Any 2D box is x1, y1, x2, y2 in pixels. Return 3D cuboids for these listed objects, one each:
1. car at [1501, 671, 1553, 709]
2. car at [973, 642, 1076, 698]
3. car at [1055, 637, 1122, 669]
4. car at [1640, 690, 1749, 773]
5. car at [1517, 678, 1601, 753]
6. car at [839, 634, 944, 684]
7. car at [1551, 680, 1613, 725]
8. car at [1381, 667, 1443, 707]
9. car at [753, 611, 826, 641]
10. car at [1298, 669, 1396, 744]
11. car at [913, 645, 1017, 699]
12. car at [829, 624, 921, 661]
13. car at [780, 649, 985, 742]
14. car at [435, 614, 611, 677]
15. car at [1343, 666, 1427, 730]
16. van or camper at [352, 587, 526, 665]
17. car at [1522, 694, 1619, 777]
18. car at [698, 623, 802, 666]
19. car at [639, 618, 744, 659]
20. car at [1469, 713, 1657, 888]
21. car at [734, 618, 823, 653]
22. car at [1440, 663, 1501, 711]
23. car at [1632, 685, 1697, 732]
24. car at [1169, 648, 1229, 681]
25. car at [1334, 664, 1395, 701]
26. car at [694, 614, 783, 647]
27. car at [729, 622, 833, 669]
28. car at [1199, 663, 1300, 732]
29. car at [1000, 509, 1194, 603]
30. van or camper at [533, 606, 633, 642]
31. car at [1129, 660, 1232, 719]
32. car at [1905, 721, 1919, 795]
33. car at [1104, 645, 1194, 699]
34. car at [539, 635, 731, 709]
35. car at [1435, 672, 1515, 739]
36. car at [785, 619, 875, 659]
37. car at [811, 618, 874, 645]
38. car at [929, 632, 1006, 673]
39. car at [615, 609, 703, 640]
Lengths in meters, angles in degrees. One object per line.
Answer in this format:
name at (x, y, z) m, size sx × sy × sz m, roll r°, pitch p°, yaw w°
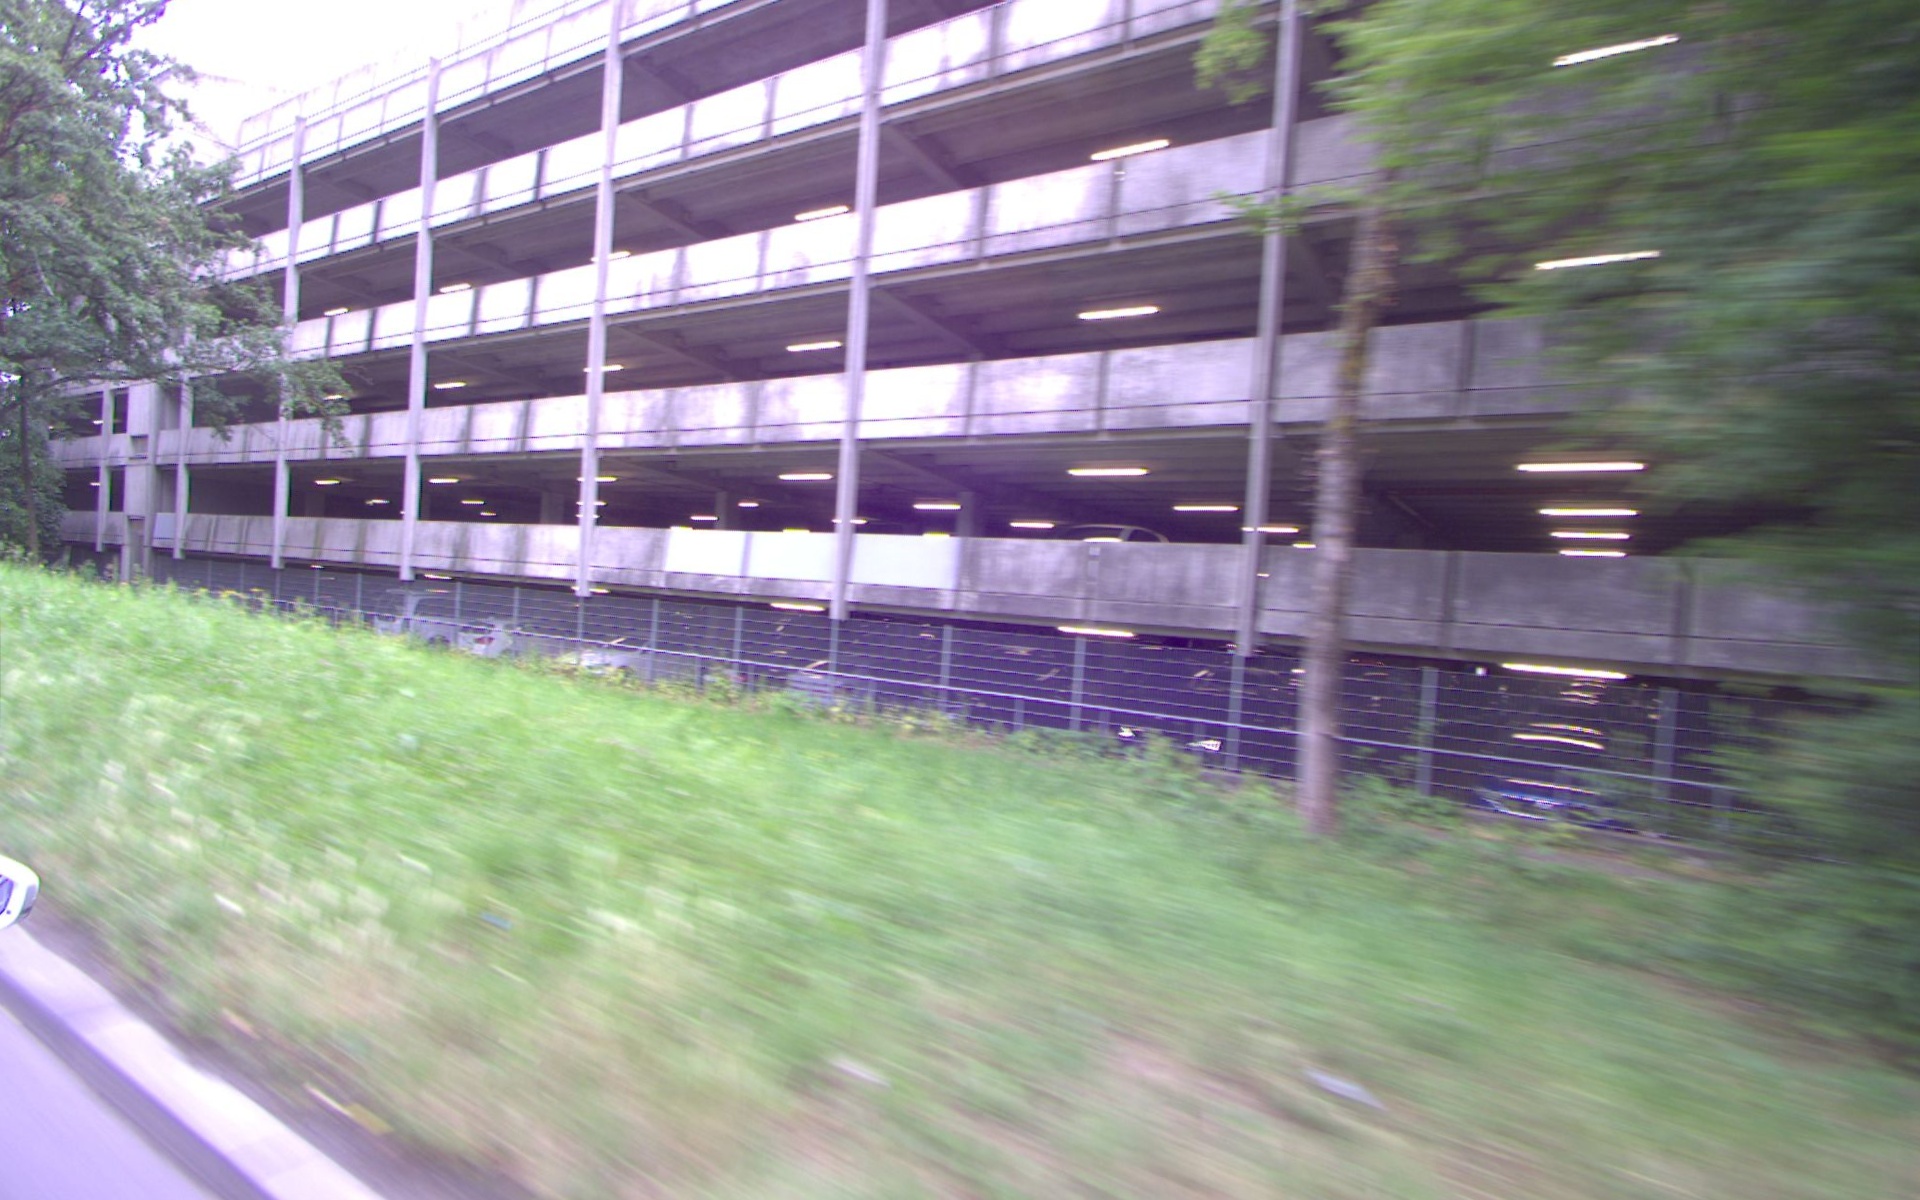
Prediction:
car at (23.766, 3.739, 42.143) m, size 1.669 × 1.285 × 3.516 m, roll 4°, pitch 0°, yaw 32°
car at (2.066, 2.126, 31.219) m, size 1.645 × 1.460 × 3.664 m, roll 4°, pitch 1°, yaw 31°
car at (6.019, 2.482, 46.873) m, size 1.670 × 1.285 × 3.514 m, roll 4°, pitch 0°, yaw 34°
car at (18.338, 3.212, 25.275) m, size 1.759 × 1.564 × 3.693 m, roll 4°, pitch 0°, yaw 30°
car at (16.191, 3.058, 27.259) m, size 1.759 × 1.564 × 3.693 m, roll 4°, pitch 0°, yaw 30°
car at (-2.262, 1.937, 34.040) m, size 1.646 × 1.460 × 3.663 m, roll 5°, pitch 1°, yaw 32°
car at (22.421, 3.636, 36.209) m, size 1.694 × 1.285 × 3.674 m, roll 4°, pitch 0°, yaw 34°
car at (17.780, 3.379, 39.496) m, size 1.669 × 1.285 × 3.516 m, roll 4°, pitch 0°, yaw 32°
car at (-9.869, 1.526, 58.436) m, size 1.869 × 1.388 × 3.987 m, roll 6°, pitch 0°, yaw 34°
car at (9.923, 2.652, 25.651) m, size 1.646 × 1.502 × 3.663 m, roll 5°, pitch 1°, yaw 31°
car at (0.216, 2.239, 32.161) m, size 1.645 × 1.460 × 3.664 m, roll 4°, pitch 1°, yaw 31°
car at (-3.397, 1.714, 40.763) m, size 1.760 × 1.324 × 3.690 m, roll 4°, pitch 0°, yaw 34°
car at (-1.508, 1.921, 21.383) m, size 1.916 × 1.526 × 4.591 m, roll 5°, pitch 1°, yaw 32°
car at (-11.866, 1.231, 27.544) m, size 1.917 × 1.455 × 4.007 m, roll 4°, pitch 0°, yaw 31°
car at (12.467, 2.803, 29.404) m, size 1.646 × 1.502 × 3.663 m, roll 5°, pitch 1°, yaw 31°
van or camper at (-14.864, 0.761, 28.905) m, size 1.810 × 1.979 × 4.006 m, roll 4°, pitch 1°, yaw 31°
car at (13.820, 2.992, 22.818) m, size 1.646 × 1.368 × 3.663 m, roll 4°, pitch 1°, yaw 31°
car at (-7.942, 1.674, 38.275) m, size 1.648 × 1.460 × 3.659 m, roll 5°, pitch 1°, yaw 36°
car at (-10.301, 1.479, 38.821) m, size 1.648 × 1.374 × 3.659 m, roll 5°, pitch 1°, yaw 36°
car at (8.273, 2.580, 13.903) m, size 1.832 × 1.553 × 3.988 m, roll 5°, pitch 1°, yaw 31°
car at (-7.853, 1.537, 43.837) m, size 1.760 × 1.324 × 3.692 m, roll 4°, pitch 0°, yaw 32°
car at (19.624, 3.292, 38.610) m, size 1.669 × 1.590 × 3.516 m, roll 5°, pitch 0°, yaw 32°
car at (24.705, 3.776, 35.376) m, size 1.694 × 1.318 × 3.709 m, roll 4°, pitch 0°, yaw 34°
car at (10.712, 2.878, 44.925) m, size 1.669 × 1.282 × 3.522 m, roll 1°, pitch -5°, yaw 29°
car at (16.624, 3.353, 41.295) m, size 1.669 × 1.285 × 3.516 m, roll 4°, pitch 0°, yaw 32°
car at (-9.821, 1.369, 44.865) m, size 1.760 × 1.324 × 3.692 m, roll 4°, pitch 0°, yaw 32°
car at (-6.377, 1.605, 36.156) m, size 1.646 × 1.460 × 3.664 m, roll 4°, pitch 1°, yaw 31°
car at (7.860, 2.559, 27.117) m, size 1.646 × 1.498 × 3.663 m, roll 4°, pitch 1°, yaw 31°
car at (2.575, -0.748, 18.251) m, size 1.805 × 1.361 × 3.828 m, roll 5°, pitch 1°, yaw 36°
van or camper at (-16.352, 1.067, 43.778) m, size 1.699 × 1.427 × 3.712 m, roll 4°, pitch 1°, yaw 33°
car at (6.269, 2.467, 28.346) m, size 1.646 × 1.300 × 3.663 m, roll 4°, pitch 1°, yaw 31°
car at (20.050, 3.302, 19.344) m, size 1.796 × 1.470 × 4.061 m, roll 5°, pitch 1°, yaw 31°
car at (6.451, 2.391, 34.074) m, size 1.759 × 1.564 × 3.693 m, roll 4°, pitch 0°, yaw 30°
car at (-7.917, 1.692, 24.878) m, size 1.917 × 1.526 × 4.256 m, roll 4°, pitch 1°, yaw 31°
car at (15.032, 3.000, 29.277) m, size 1.759 × 1.564 × 3.693 m, roll 4°, pitch 0°, yaw 30°
car at (-5.434, 1.670, 42.379) m, size 1.696 × 1.440 × 3.694 m, roll 4°, pitch -2°, yaw 34°
car at (-6.598, 1.803, 56.739) m, size 1.669 × 1.342 × 3.517 m, roll 4°, pitch 0°, yaw 31°
car at (0.334, 1.996, 37.945) m, size 1.418 × 1.349 × 3.129 m, roll 5°, pitch -1°, yaw 31°
car at (-14.145, 1.174, 47.402) m, size 1.760 × 1.324 × 3.692 m, roll 4°, pitch 0°, yaw 32°
